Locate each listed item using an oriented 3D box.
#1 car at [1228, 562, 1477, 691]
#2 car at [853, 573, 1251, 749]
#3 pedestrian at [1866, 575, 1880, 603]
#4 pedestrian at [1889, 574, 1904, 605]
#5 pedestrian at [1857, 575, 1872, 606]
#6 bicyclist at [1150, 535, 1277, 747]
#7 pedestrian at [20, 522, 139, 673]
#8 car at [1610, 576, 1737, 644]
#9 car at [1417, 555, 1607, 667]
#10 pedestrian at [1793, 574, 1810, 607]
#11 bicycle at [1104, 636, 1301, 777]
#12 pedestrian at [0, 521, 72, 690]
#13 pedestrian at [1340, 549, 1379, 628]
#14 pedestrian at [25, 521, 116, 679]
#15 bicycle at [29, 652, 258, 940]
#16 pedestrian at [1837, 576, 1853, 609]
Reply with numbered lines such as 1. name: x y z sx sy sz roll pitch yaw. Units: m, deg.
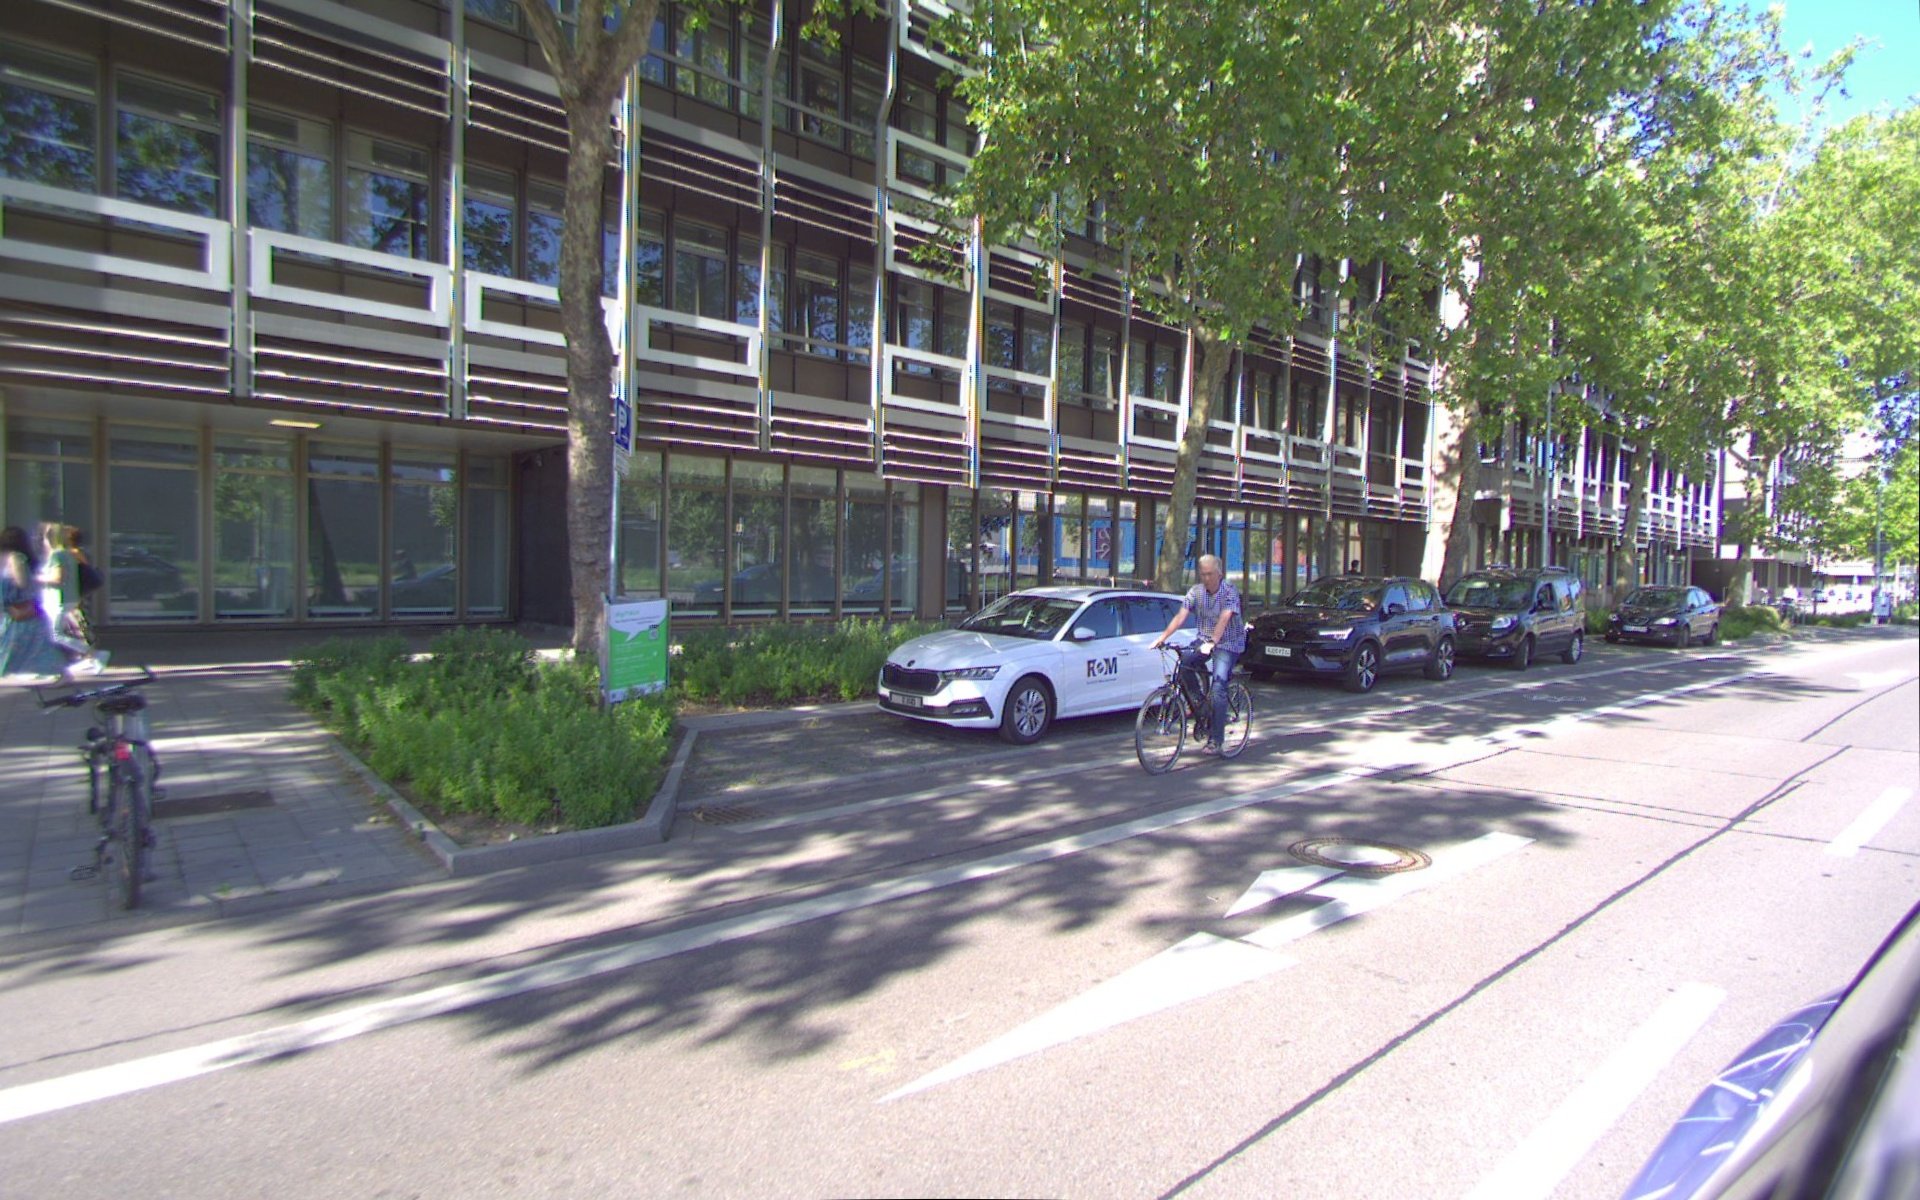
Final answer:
1. car: 6.107 0.319 15.508 4.262 1.653 1.751 0 3 -42
2. car: 1.173 0.521 11.174 4.481 1.508 1.751 0 3 -42
3. pedestrian: 60.255 -0.717 66.778 0.559 1.863 0.591 0 1 -41
4. pedestrian: 56.673 -0.636 61.232 0.559 1.863 0.591 0 1 -41
5. pedestrian: 54.766 -0.564 61.301 0.559 1.863 0.591 0 1 -41
6. bicyclist: 2.184 0.328 8.705 0.838 1.709 0.710 0 -1 -42
7. pedestrian: -9.974 -0.046 11.495 0.991 1.620 0.668 0 4 -41
8. car: 18.809 0.213 26.619 4.262 1.573 1.751 0 3 -42
9. car: 10.489 0.143 19.102 4.262 1.843 1.751 0 3 -42
10. pedestrian: 47.381 -0.530 56.990 0.685 1.863 0.591 0 1 -42
11. bicycle: 2.103 0.844 8.625 1.891 1.006 0.710 0 -1 -43
12. pedestrian: -9.343 0.037 10.092 0.715 1.620 0.668 0 4 -40
13. pedestrian: 10.559 -0.307 26.735 0.615 2.039 0.740 0 1 -43
14. pedestrian: -9.562 -0.019 10.900 0.715 1.620 0.668 0 4 -40
15. bicycle: -4.120 0.851 5.047 0.700 0.972 1.845 0 4 -45
16. pedestrian: 50.747 -0.453 58.034 0.684 1.863 0.591 0 1 -42
